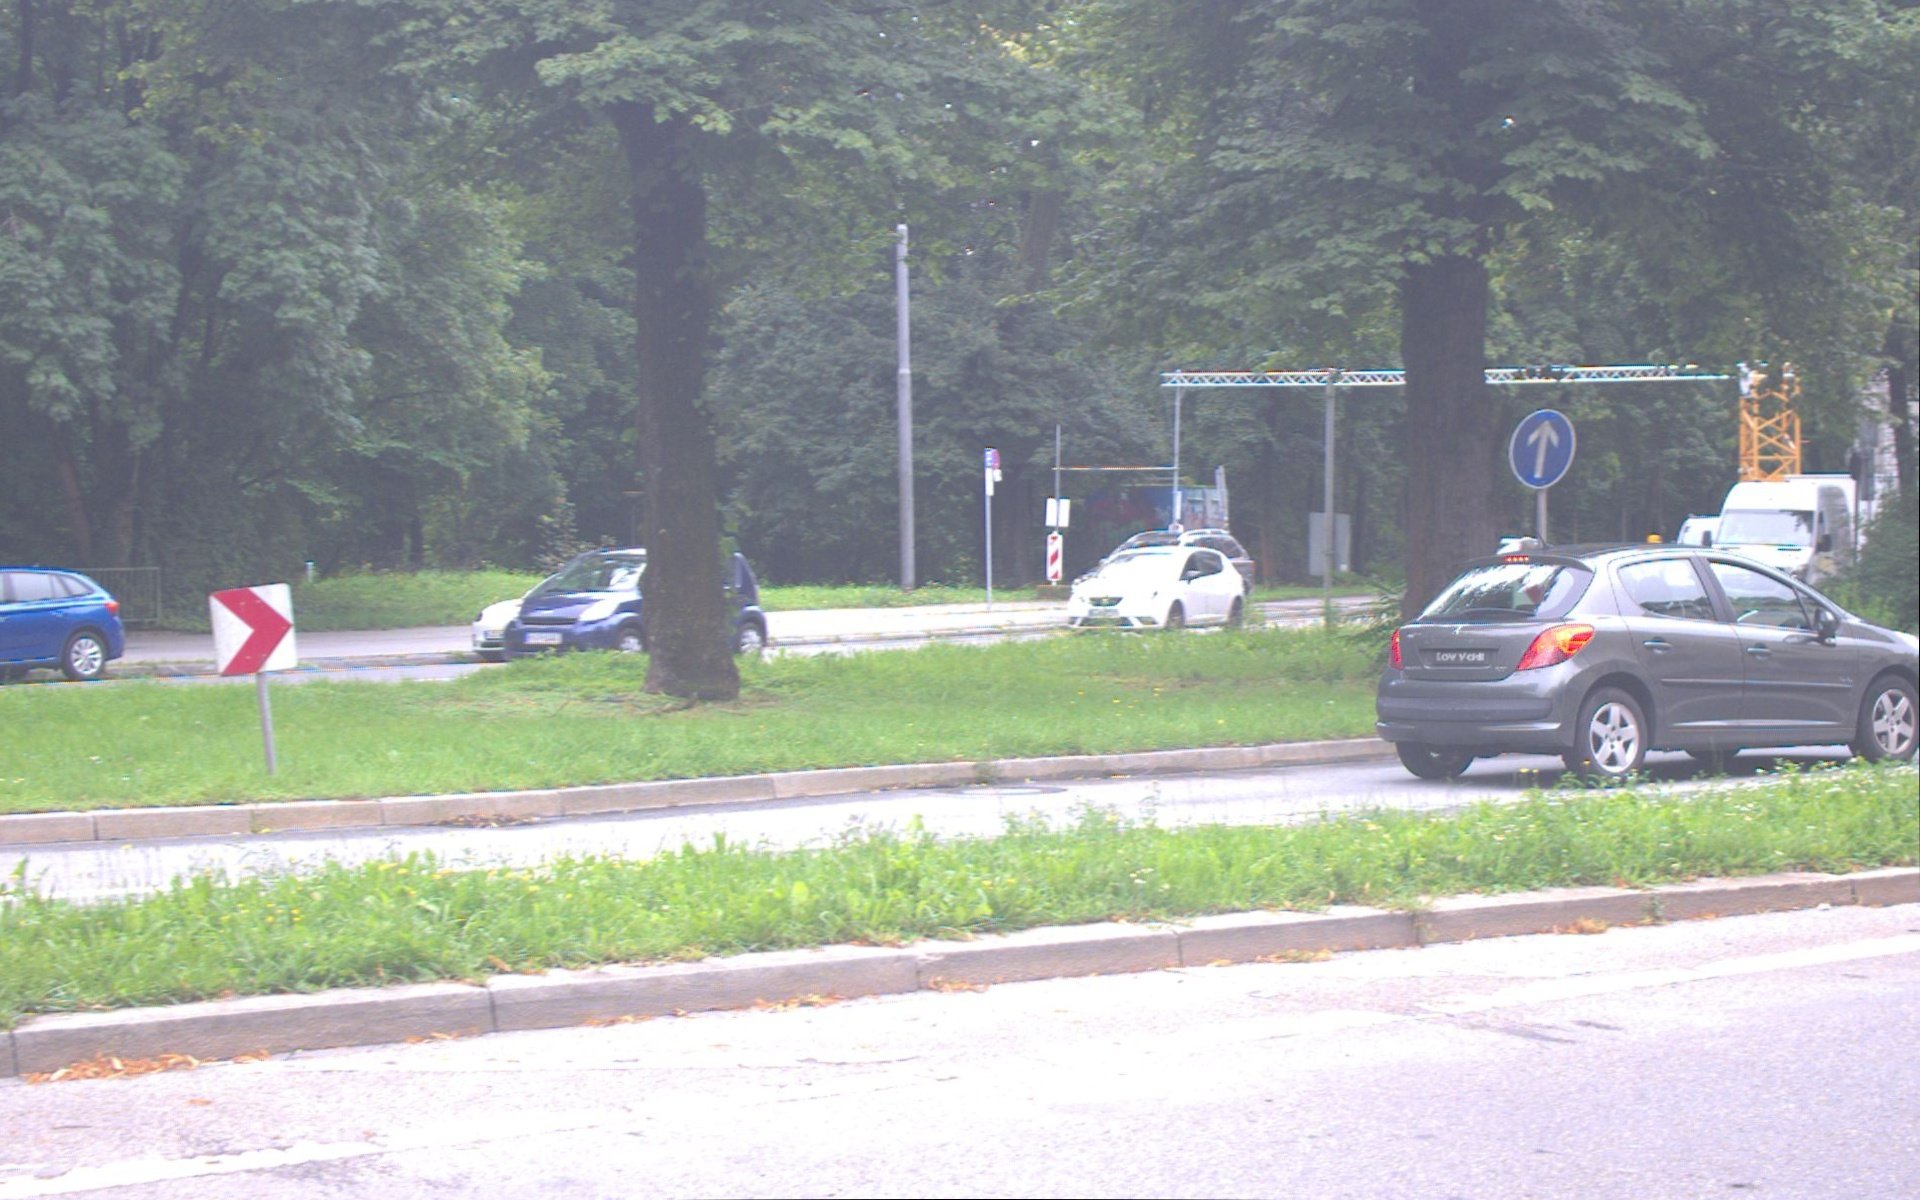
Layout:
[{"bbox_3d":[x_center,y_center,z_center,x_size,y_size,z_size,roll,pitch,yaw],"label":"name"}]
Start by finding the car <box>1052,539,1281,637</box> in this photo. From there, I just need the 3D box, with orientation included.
[{"bbox_3d":[3.241,-0.186,53.110,1.830,1.441,4.229,-1,0,30],"label":"car"}]

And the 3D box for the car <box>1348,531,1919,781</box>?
[{"bbox_3d":[4.585,0.302,21.882,4.061,1.456,1.764,0,1,-36],"label":"car"}]

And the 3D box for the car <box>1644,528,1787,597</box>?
[{"bbox_3d":[16.494,-0.830,74.903,1.894,1.441,4.292,0,1,29],"label":"car"}]

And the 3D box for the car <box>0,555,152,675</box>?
[{"bbox_3d":[-12.314,0.190,42.169,1.998,1.441,4.414,-1,0,37],"label":"car"}]

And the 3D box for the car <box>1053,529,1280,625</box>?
[{"bbox_3d":[3.905,-0.429,64.379,1.998,1.712,4.639,-1,0,37],"label":"car"}]

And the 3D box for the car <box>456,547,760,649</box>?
[{"bbox_3d":[-5.155,-0.038,50.837,1.998,1.441,4.414,-1,0,37],"label":"car"}]

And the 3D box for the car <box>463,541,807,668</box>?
[{"bbox_3d":[-3.849,0.018,41.289,1.895,1.441,4.025,0,1,37],"label":"car"}]

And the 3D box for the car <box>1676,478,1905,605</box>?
[{"bbox_3d":[15.463,-1.074,63.838,2.306,2.262,5.117,0,1,37],"label":"car"}]
